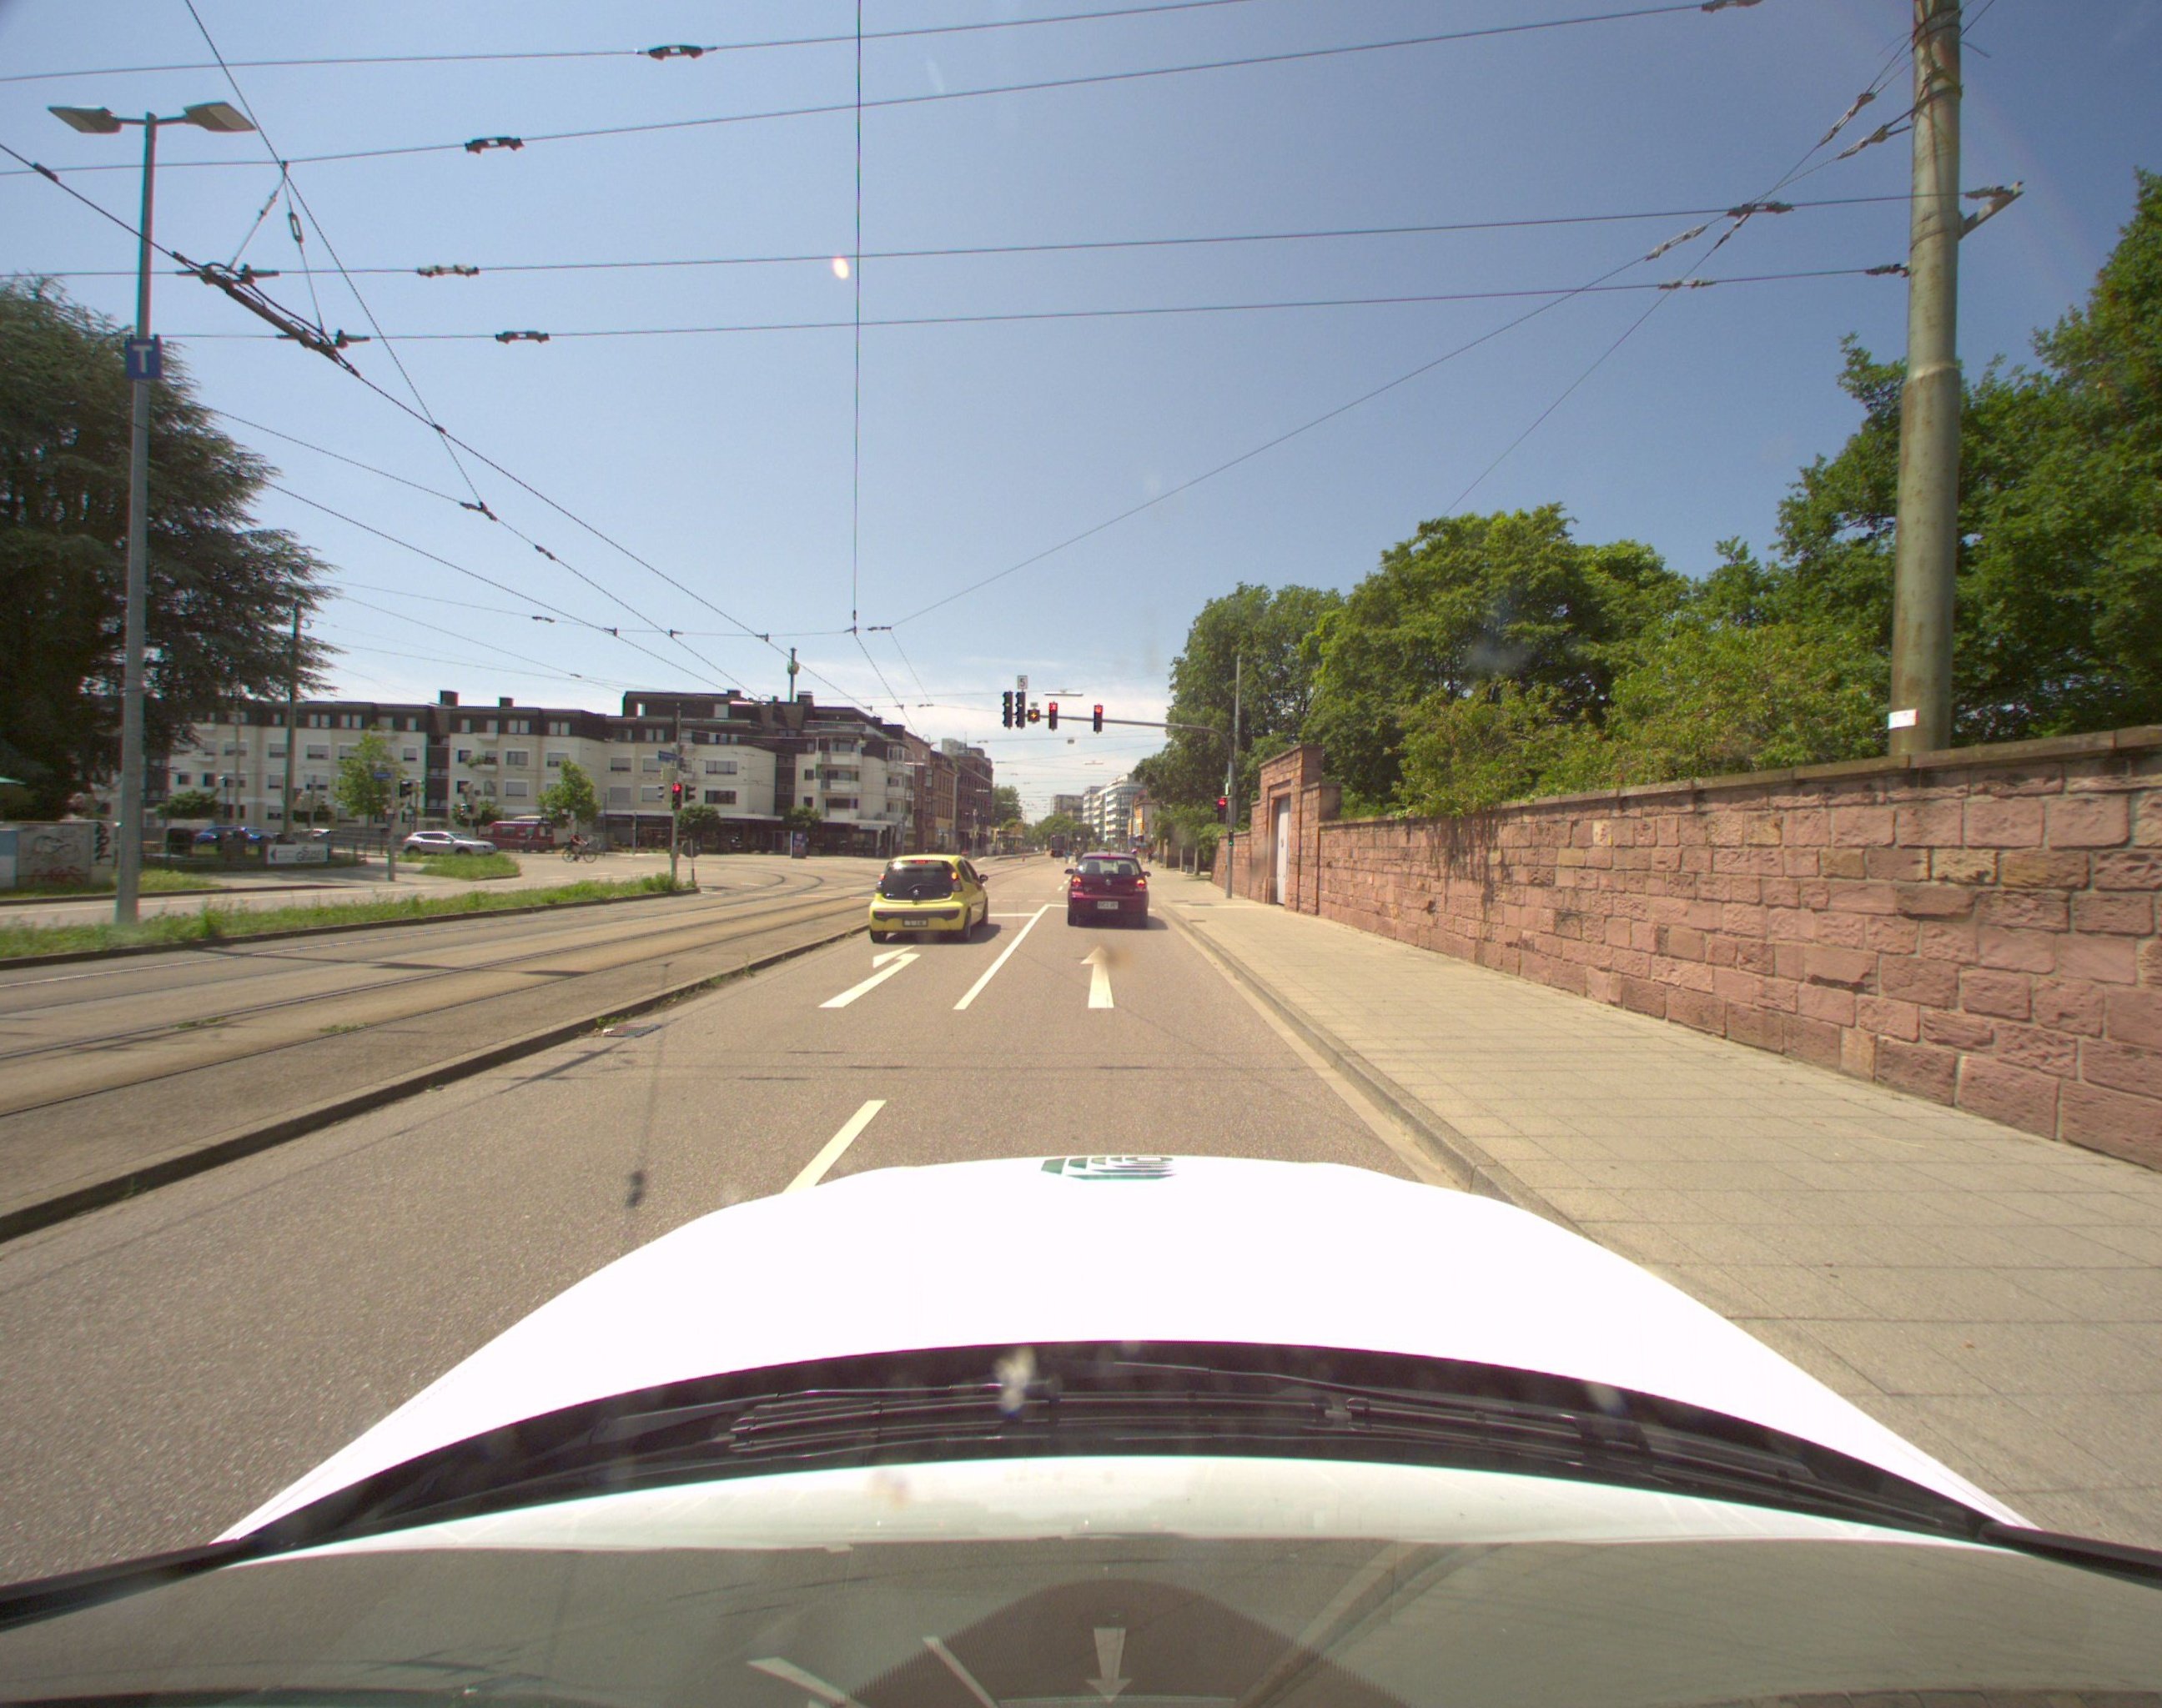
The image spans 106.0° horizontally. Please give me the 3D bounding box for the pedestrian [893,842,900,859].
[{"bbox_3d":[-19.539,-0.360,86.185,0.614,1.754,0.499,1,-1,-43],"label":"pedestrian"}]

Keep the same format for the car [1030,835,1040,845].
[{"bbox_3d":[-9.236,-2.762,164.094,1.728,2.013,4.002,1,0,2],"label":"car"}]

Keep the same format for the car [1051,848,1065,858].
[{"bbox_3d":[-3.576,-0.130,126.648,1.931,1.641,4.001,0,0,1],"label":"car"}]

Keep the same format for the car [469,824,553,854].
[{"bbox_3d":[-45.134,-1.186,64.585,5.048,2.341,2.244,0,-1,0],"label":"car"}]

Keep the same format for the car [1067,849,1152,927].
[{"bbox_3d":[0.586,0.639,17.627,1.604,1.463,4.086,1,0,1],"label":"car"}]

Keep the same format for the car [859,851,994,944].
[{"bbox_3d":[-2.654,0.694,14.704,1.717,1.445,3.293,0,1,1],"label":"car"}]

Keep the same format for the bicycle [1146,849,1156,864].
[{"bbox_3d":[7.291,0.242,85.106,0.831,1.525,4.001,0,0,2],"label":"bicycle"}]

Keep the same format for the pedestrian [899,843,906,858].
[{"bbox_3d":[-18.617,-0.327,84.725,0.479,1.541,0.541,0,-1,24],"label":"pedestrian"}]

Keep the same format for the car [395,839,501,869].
[{"bbox_3d":[-34.702,0.012,44.768,4.140,1.584,1.932,0,-1,-11],"label":"car"}]

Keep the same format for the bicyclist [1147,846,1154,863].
[{"bbox_3d":[7.305,0.080,85.695,0.719,1.818,0.889,0,-1,1],"label":"bicyclist"}]

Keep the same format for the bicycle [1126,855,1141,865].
[{"bbox_3d":[5.437,0.579,84.000,0.572,1.008,1.883,-1,-1,40],"label":"bicycle"}]

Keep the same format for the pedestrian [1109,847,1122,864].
[{"bbox_3d":[3.544,0.152,83.613,0.987,1.661,0.911,1,0,-27],"label":"pedestrian"}]

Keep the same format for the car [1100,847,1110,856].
[{"bbox_3d":[4.017,-0.427,134.962,1.567,1.415,3.721,-1,0,1],"label":"car"}]

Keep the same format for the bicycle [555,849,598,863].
[{"bbox_3d":[-28.456,0.116,45.986,1.987,0.783,0.463,0,-1,-20],"label":"bicycle"}]

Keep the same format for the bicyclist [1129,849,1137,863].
[{"bbox_3d":[5.328,0.243,83.912,0.500,1.406,0.773,-1,-1,39],"label":"bicyclist"}]

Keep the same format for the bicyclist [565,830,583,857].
[{"bbox_3d":[-28.598,-0.576,45.949,0.752,1.501,0.479,0,-1,-20],"label":"bicyclist"}]
